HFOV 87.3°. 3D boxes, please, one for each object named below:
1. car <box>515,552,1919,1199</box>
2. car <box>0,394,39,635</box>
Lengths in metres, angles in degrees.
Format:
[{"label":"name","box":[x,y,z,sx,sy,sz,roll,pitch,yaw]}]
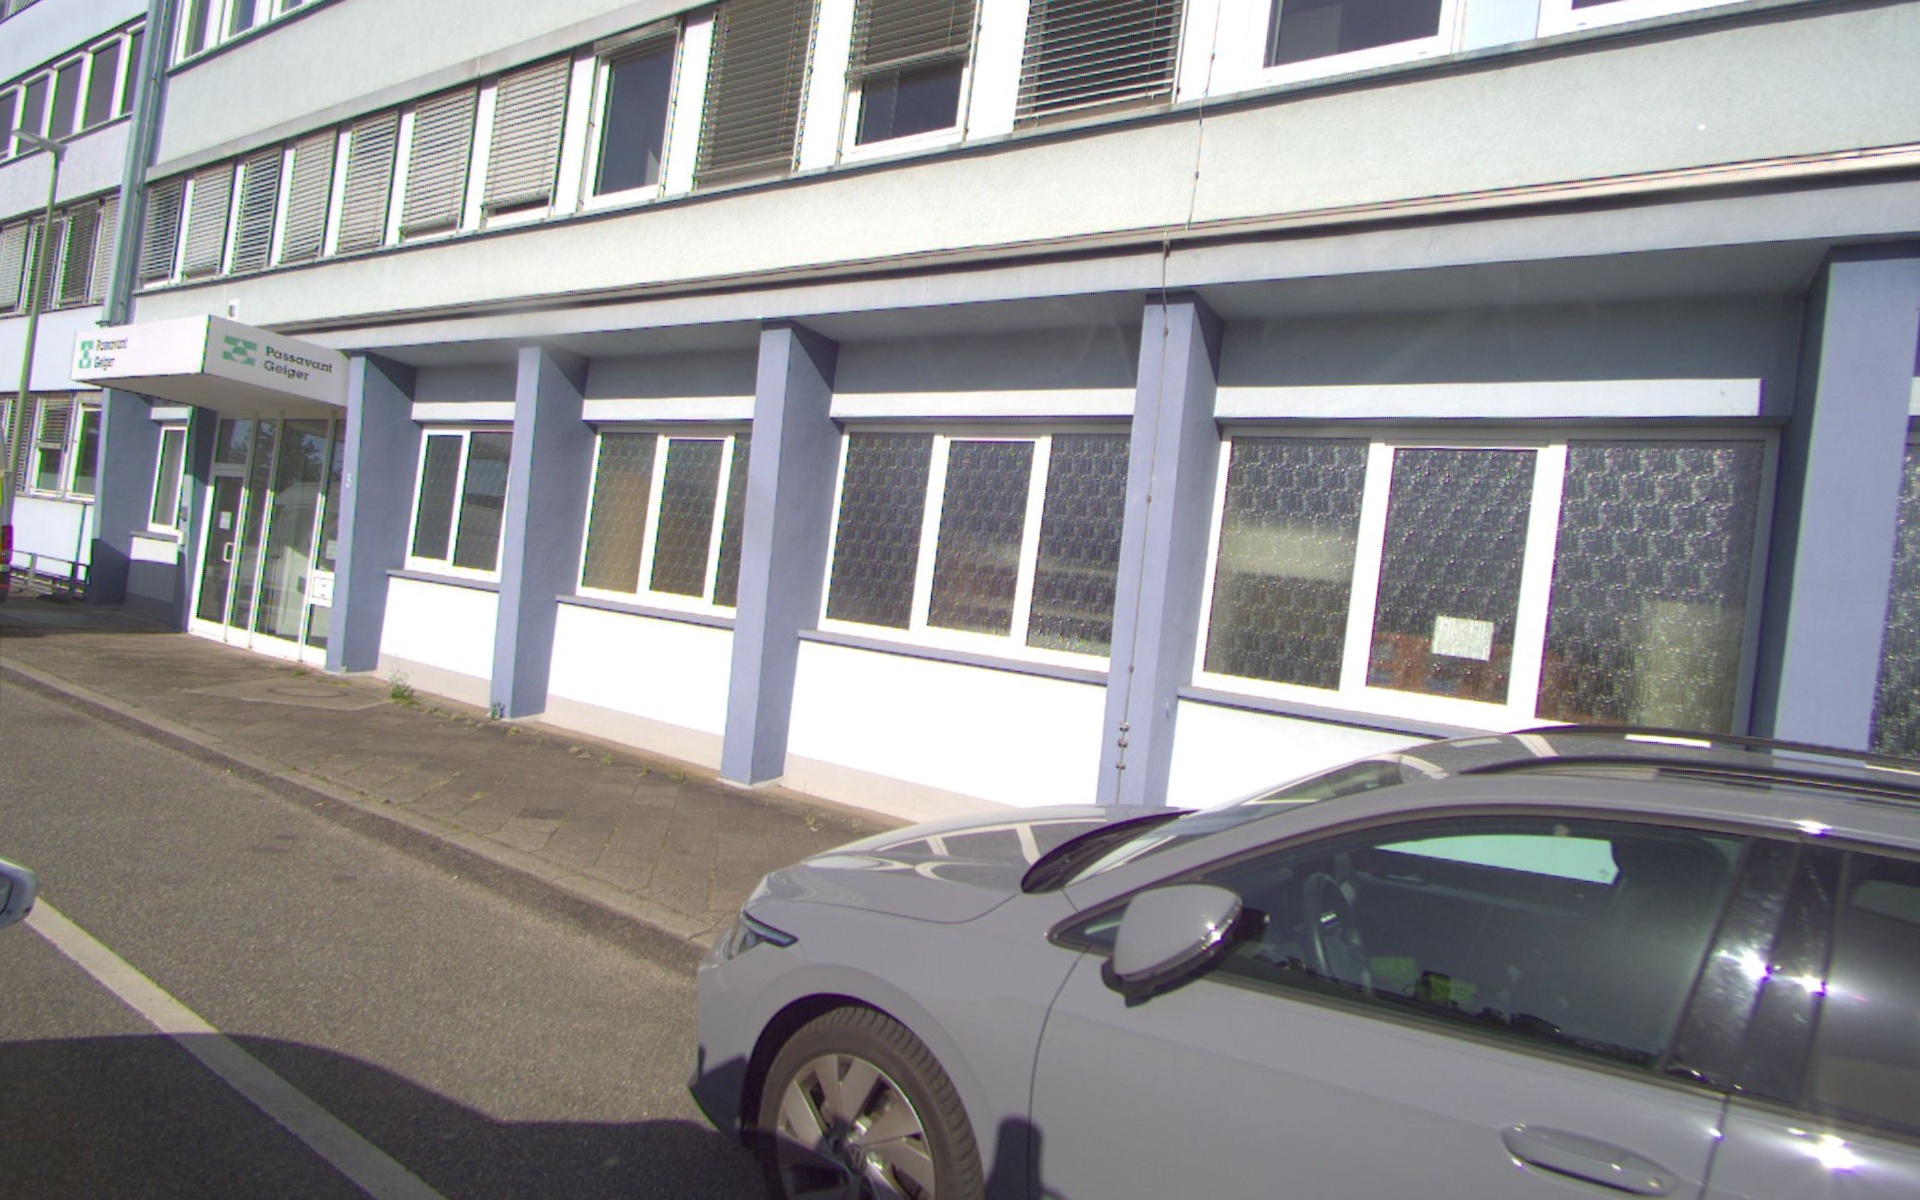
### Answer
[{"label":"car","box":[1.501,0.999,2.260,5.005,1.578,1.894,6,-3,31]},{"label":"car","box":[-13.469,-1.315,11.914,5.949,2.630,1.996,8,0,31]}]
